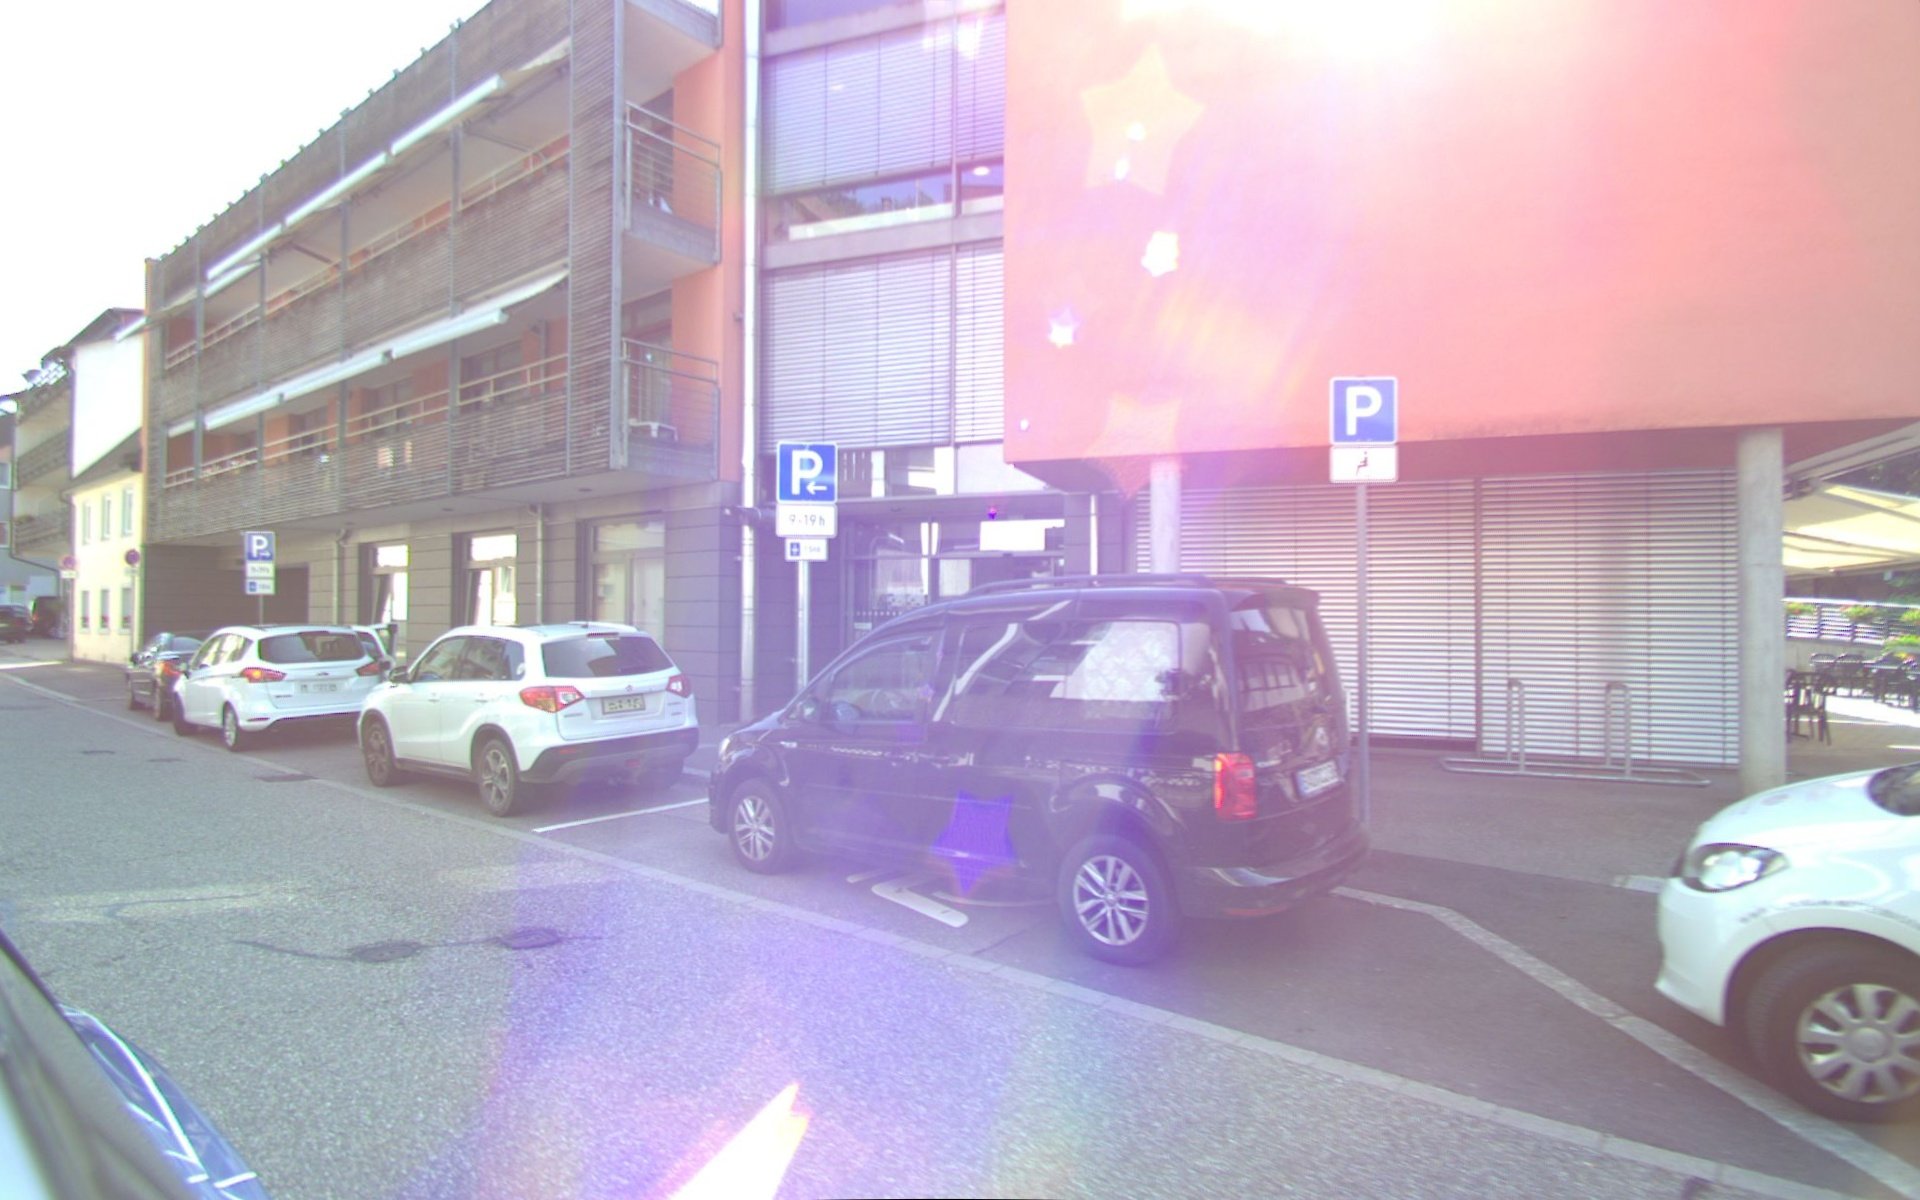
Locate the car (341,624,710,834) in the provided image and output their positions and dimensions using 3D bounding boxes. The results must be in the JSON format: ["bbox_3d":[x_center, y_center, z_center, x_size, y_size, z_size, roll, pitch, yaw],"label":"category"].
[{"bbox_3d":[-4.286,1.054,9.713,3.946,1.601,1.658,-2,-2,40],"label":"car"}]

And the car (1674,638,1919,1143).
[{"bbox_3d":[4.290,0.847,2.817,3.567,1.443,1.648,-3,-1,42],"label":"car"}]

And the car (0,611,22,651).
[{"bbox_3d":[-40.255,1.304,41.785,3.886,1.587,1.764,-1,1,40],"label":"car"}]

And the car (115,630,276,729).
[{"bbox_3d":[-13.133,1.275,17.311,3.593,1.427,1.532,-1,0,42],"label":"car"}]

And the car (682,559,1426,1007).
[{"bbox_3d":[0.312,0.798,6.127,4.264,1.810,1.703,-2,-2,39],"label":"car"}]

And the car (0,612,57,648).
[{"bbox_3d":[-45.792,1.439,48.079,1.829,1.697,3.956,-3,-3,32],"label":"car"}]

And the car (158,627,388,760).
[{"bbox_3d":[-9.514,1.176,13.929,3.761,1.567,1.657,-2,-2,40],"label":"car"}]
